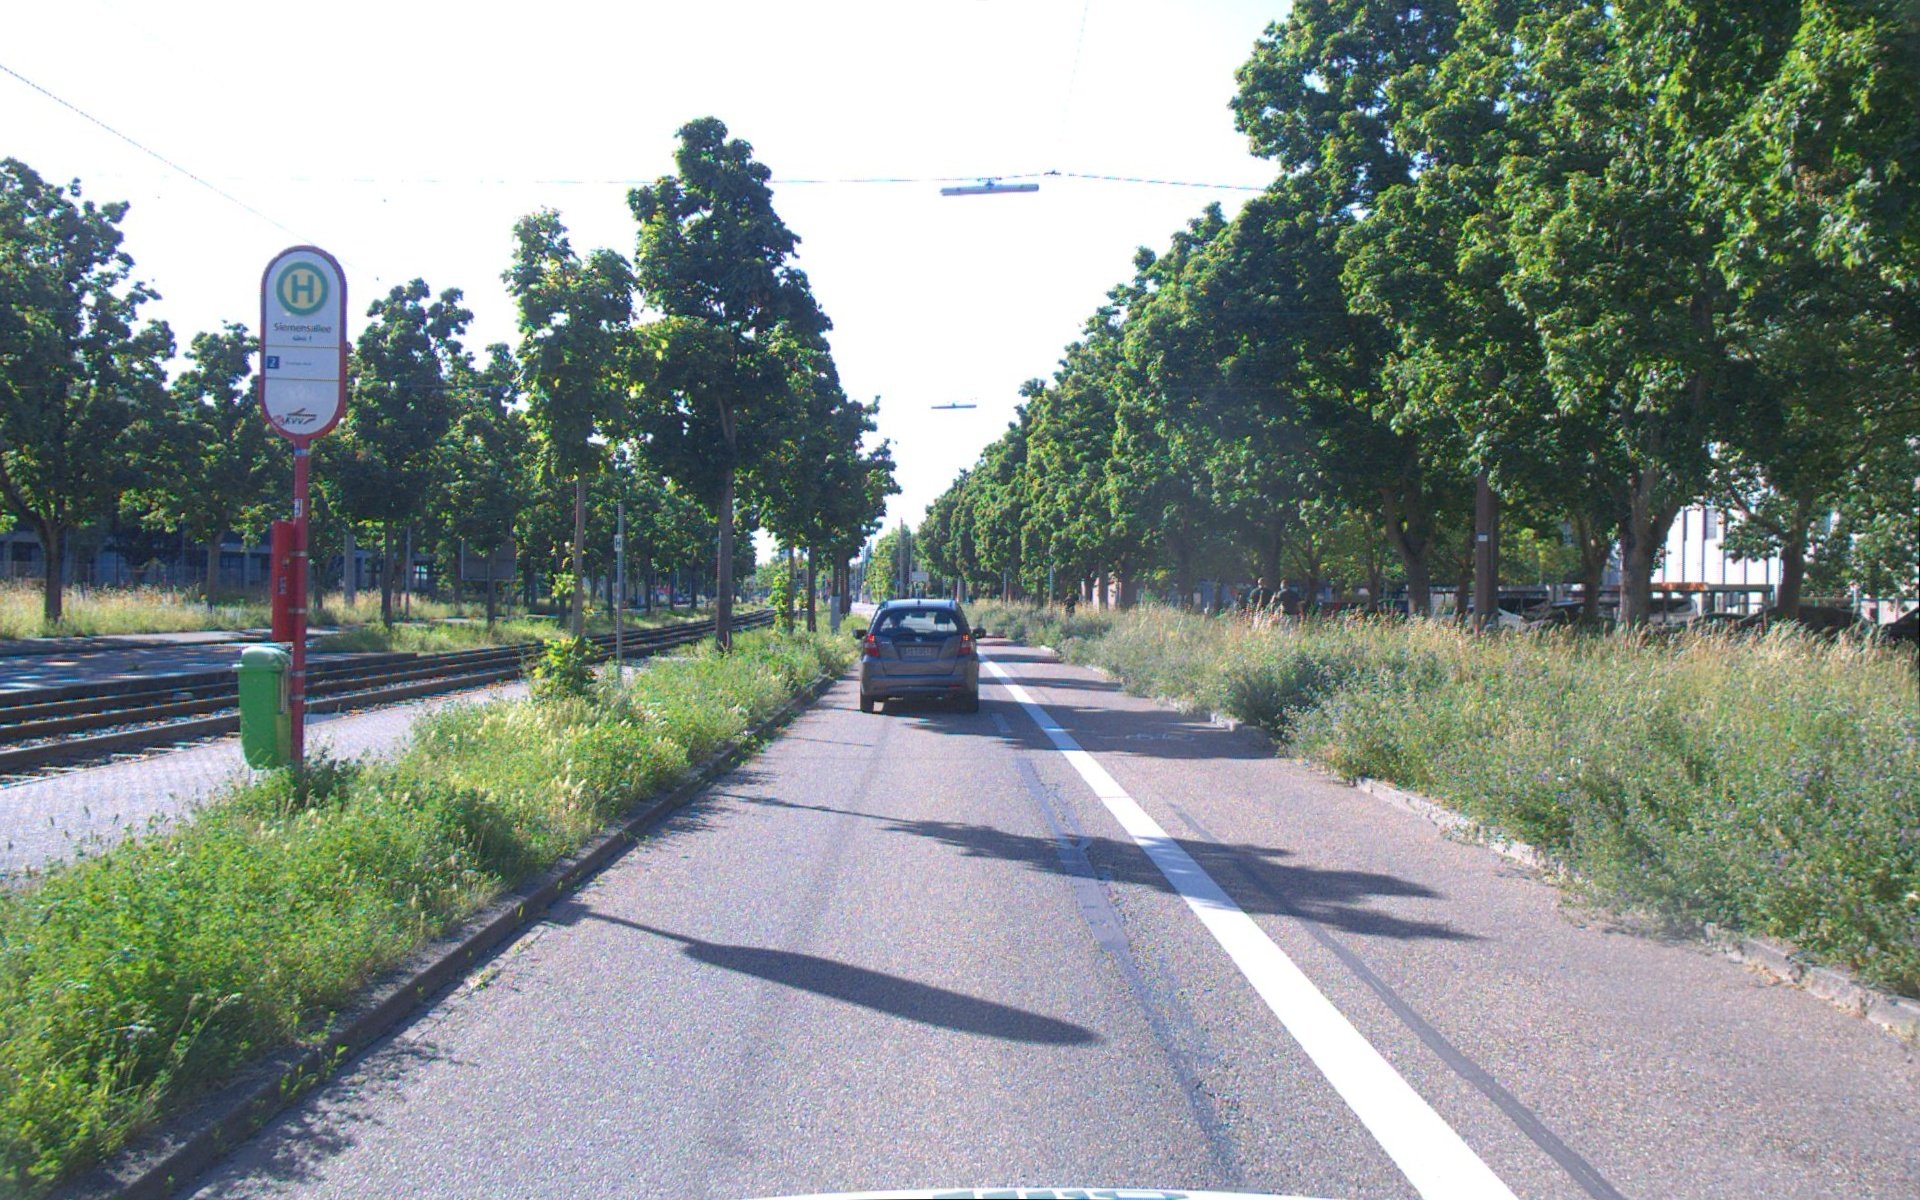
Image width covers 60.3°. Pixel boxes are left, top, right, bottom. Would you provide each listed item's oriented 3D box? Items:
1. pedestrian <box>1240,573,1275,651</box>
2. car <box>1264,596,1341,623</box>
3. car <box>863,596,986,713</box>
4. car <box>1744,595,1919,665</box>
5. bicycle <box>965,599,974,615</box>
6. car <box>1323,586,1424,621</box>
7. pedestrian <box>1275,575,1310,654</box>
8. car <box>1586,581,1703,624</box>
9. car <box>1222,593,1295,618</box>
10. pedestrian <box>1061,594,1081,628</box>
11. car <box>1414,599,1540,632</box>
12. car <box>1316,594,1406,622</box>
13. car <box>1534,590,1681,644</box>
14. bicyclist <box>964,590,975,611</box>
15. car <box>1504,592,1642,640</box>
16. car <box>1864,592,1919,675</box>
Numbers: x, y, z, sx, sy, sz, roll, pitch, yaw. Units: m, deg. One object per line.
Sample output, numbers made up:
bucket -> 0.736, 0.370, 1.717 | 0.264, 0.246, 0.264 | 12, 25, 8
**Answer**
pedestrian -> 7.519, 0.298, 41.838 | 0.693, 1.951, 0.816 | 1, 0, -1
car -> 19.883, 0.547, 96.126 | 4.079, 1.457, 1.825 | 1, 0, 0
car -> -0.568, 0.716, 23.643 | 1.592, 1.526, 3.454 | -1, 0, -4
car -> 22.521, 0.745, 42.646 | 3.909, 1.667, 1.716 | 1, 0, 37
bicycle -> 0.747, 0.544, 133.426 | 0.473, 1.225, 2.140 | 1, -2, -6
car -> 19.842, 0.150, 79.455 | 4.307, 1.624, 1.881 | 0, 0, -6
pedestrian -> 8.398, 0.364, 41.767 | 0.693, 1.964, 0.816 | 1, 0, -1
car -> 32.086, 0.096, 77.591 | 4.654, 1.984, 1.973 | 0, 1, -3
car -> 18.744, 0.352, 104.041 | 4.266, 1.484, 1.689 | 0, 0, 0
pedestrian -> 5.186, 0.506, 77.303 | 0.807, 1.596, 0.762 | 1, 0, -2
car -> 21.293, 0.618, 68.211 | 4.606, 1.293, 1.806 | 0, 1, -5
car -> 20.513, 0.403, 84.676 | 4.203, 1.347, 1.941 | 0, 1, 2
car -> 21.262, 0.540, 54.355 | 4.258, 1.730, 1.761 | 0, 0, -12
bicyclist -> 0.765, 0.041, 133.574 | 0.671, 1.750, 0.900 | 1, -1, -12
car -> 20.887, 0.533, 56.421 | 4.156, 1.562, 1.761 | 0, 0, -12
car -> 22.591, 0.761, 35.409 | 1.905, 1.782, 5.367 | 1, 0, -44
